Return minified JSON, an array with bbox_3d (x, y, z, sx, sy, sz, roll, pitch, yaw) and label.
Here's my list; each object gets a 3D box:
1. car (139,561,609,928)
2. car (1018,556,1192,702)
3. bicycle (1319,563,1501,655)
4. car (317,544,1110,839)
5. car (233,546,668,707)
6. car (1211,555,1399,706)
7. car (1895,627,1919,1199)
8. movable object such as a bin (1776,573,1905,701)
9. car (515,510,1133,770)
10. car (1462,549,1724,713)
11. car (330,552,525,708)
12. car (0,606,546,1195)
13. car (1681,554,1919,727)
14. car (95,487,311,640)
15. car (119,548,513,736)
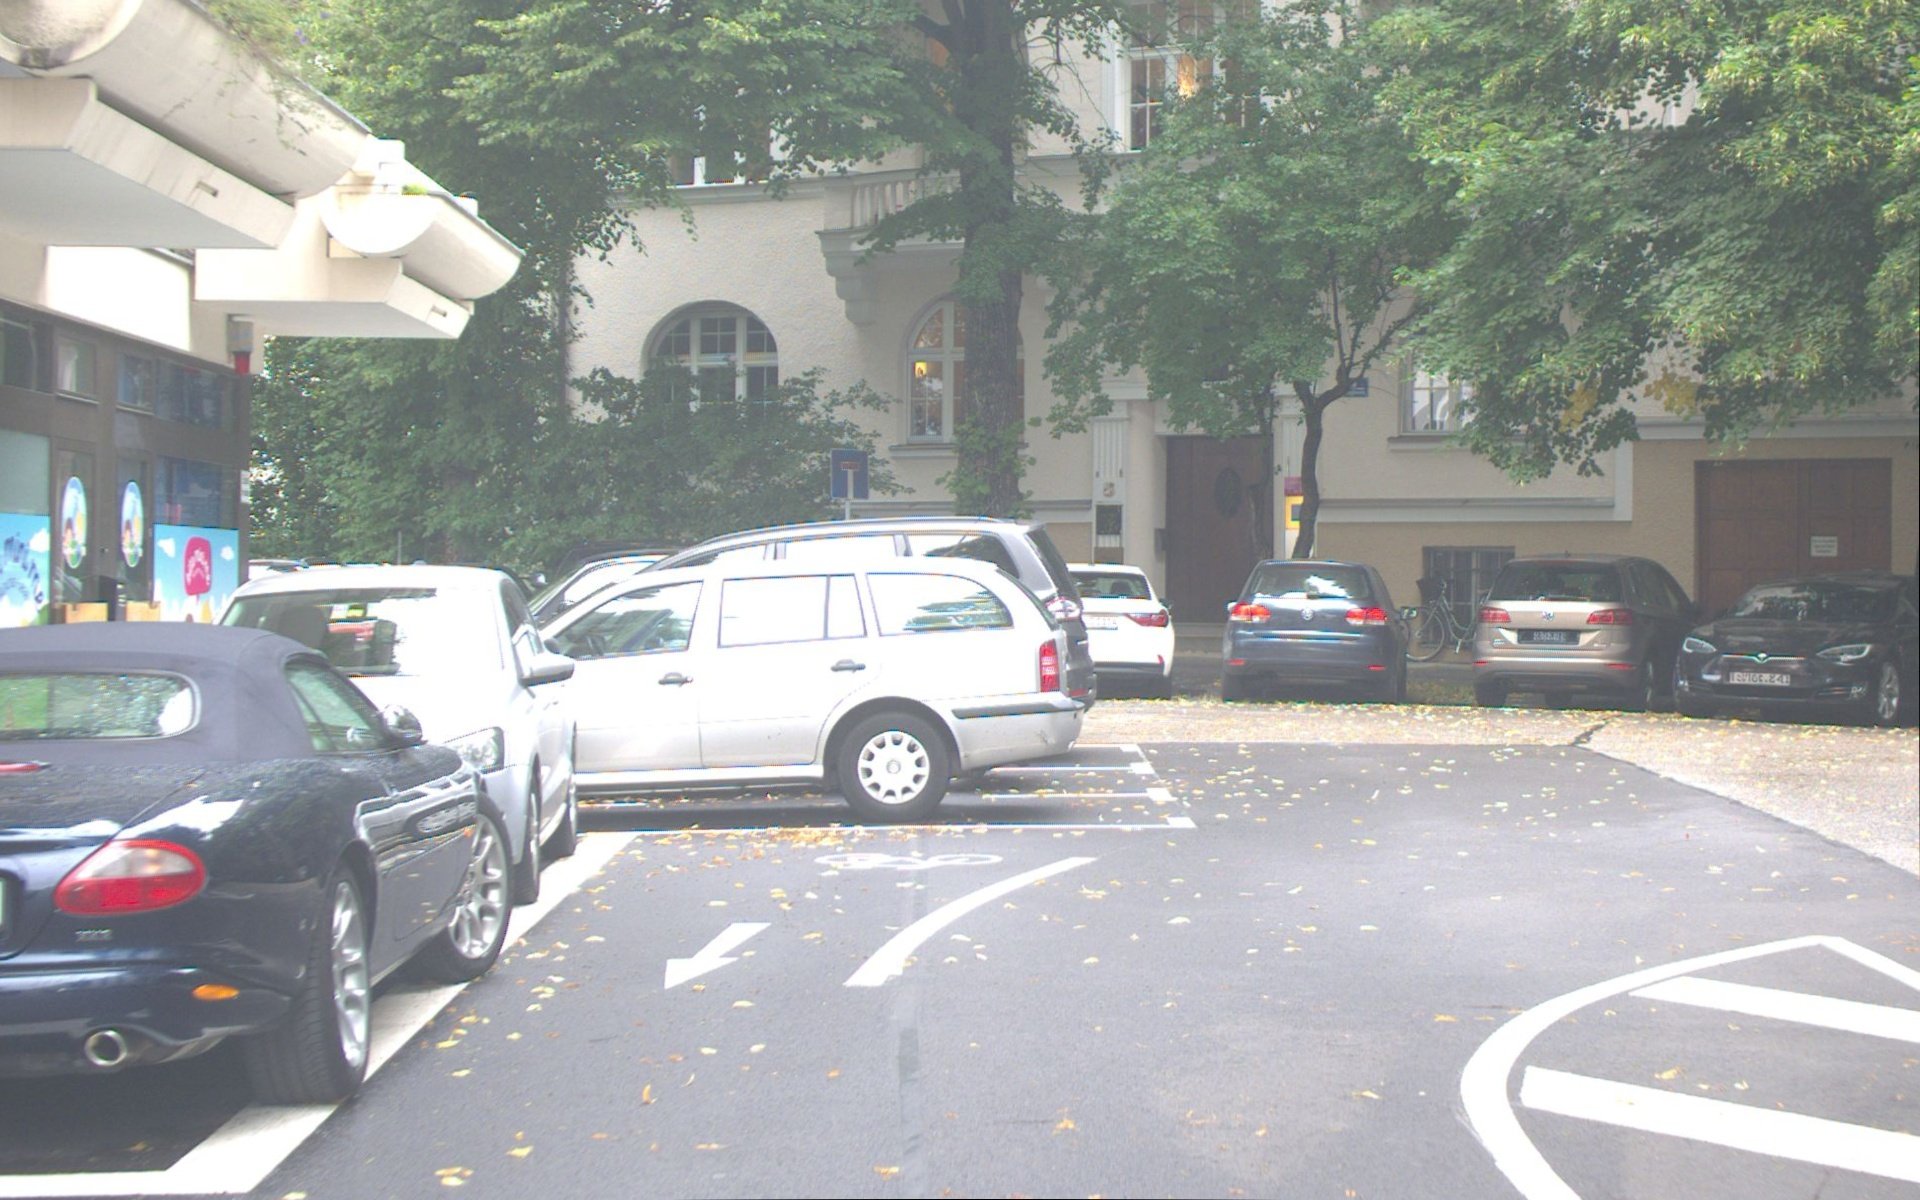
[{"bbox_3d":[-2.536,0.556,15.654,1.560,1.416,3.834,-1,1,-2],"label":"car"},{"bbox_3d":[1.526,0.265,36.666,1.718,1.426,4.000,1,1,2],"label":"car"},{"bbox_3d":[5.753,0.107,43.993,2.232,1.111,0.576,2,1,28],"label":"bicycle"},{"bbox_3d":[-1.342,0.478,19.419,4.227,1.450,1.721,-2,1,-1],"label":"car"},{"bbox_3d":[-4.345,0.222,29.209,3.448,1.280,1.531,1,1,-17],"label":"car"},{"bbox_3d":[3.588,0.272,35.600,1.792,1.426,3.999,1,1,6],"label":"car"},{"bbox_3d":[2.441,0.789,3.791,1.743,1.436,4.000,0,1,0],"label":"car"},{"bbox_3d":[9.709,0.397,37.901,1.151,1.344,1.155,2,2,25],"label":"movable object such as a bin"},{"bbox_3d":[-0.970,0.259,24.671,4.219,1.678,1.903,-2,1,-2],"label":"car"},{"bbox_3d":[6.507,0.286,35.022,1.841,1.525,4.020,1,1,22],"label":"car"},{"bbox_3d":[-5.847,0.292,38.136,1.700,1.596,4.001,1,1,-3],"label":"car"},{"bbox_3d":[-2.390,0.714,10.294,1.797,1.273,4.617,-1,1,-1],"label":"car"},{"bbox_3d":[8.383,0.423,32.689,1.707,1.462,4.281,3,-1,29],"label":"car"},{"bbox_3d":[-8.448,-0.422,38.675,1.700,1.596,4.001,1,1,-3],"label":"car"},{"bbox_3d":[-5.844,0.376,31.162,3.287,1.625,1.510,1,1,-20],"label":"car"}]
